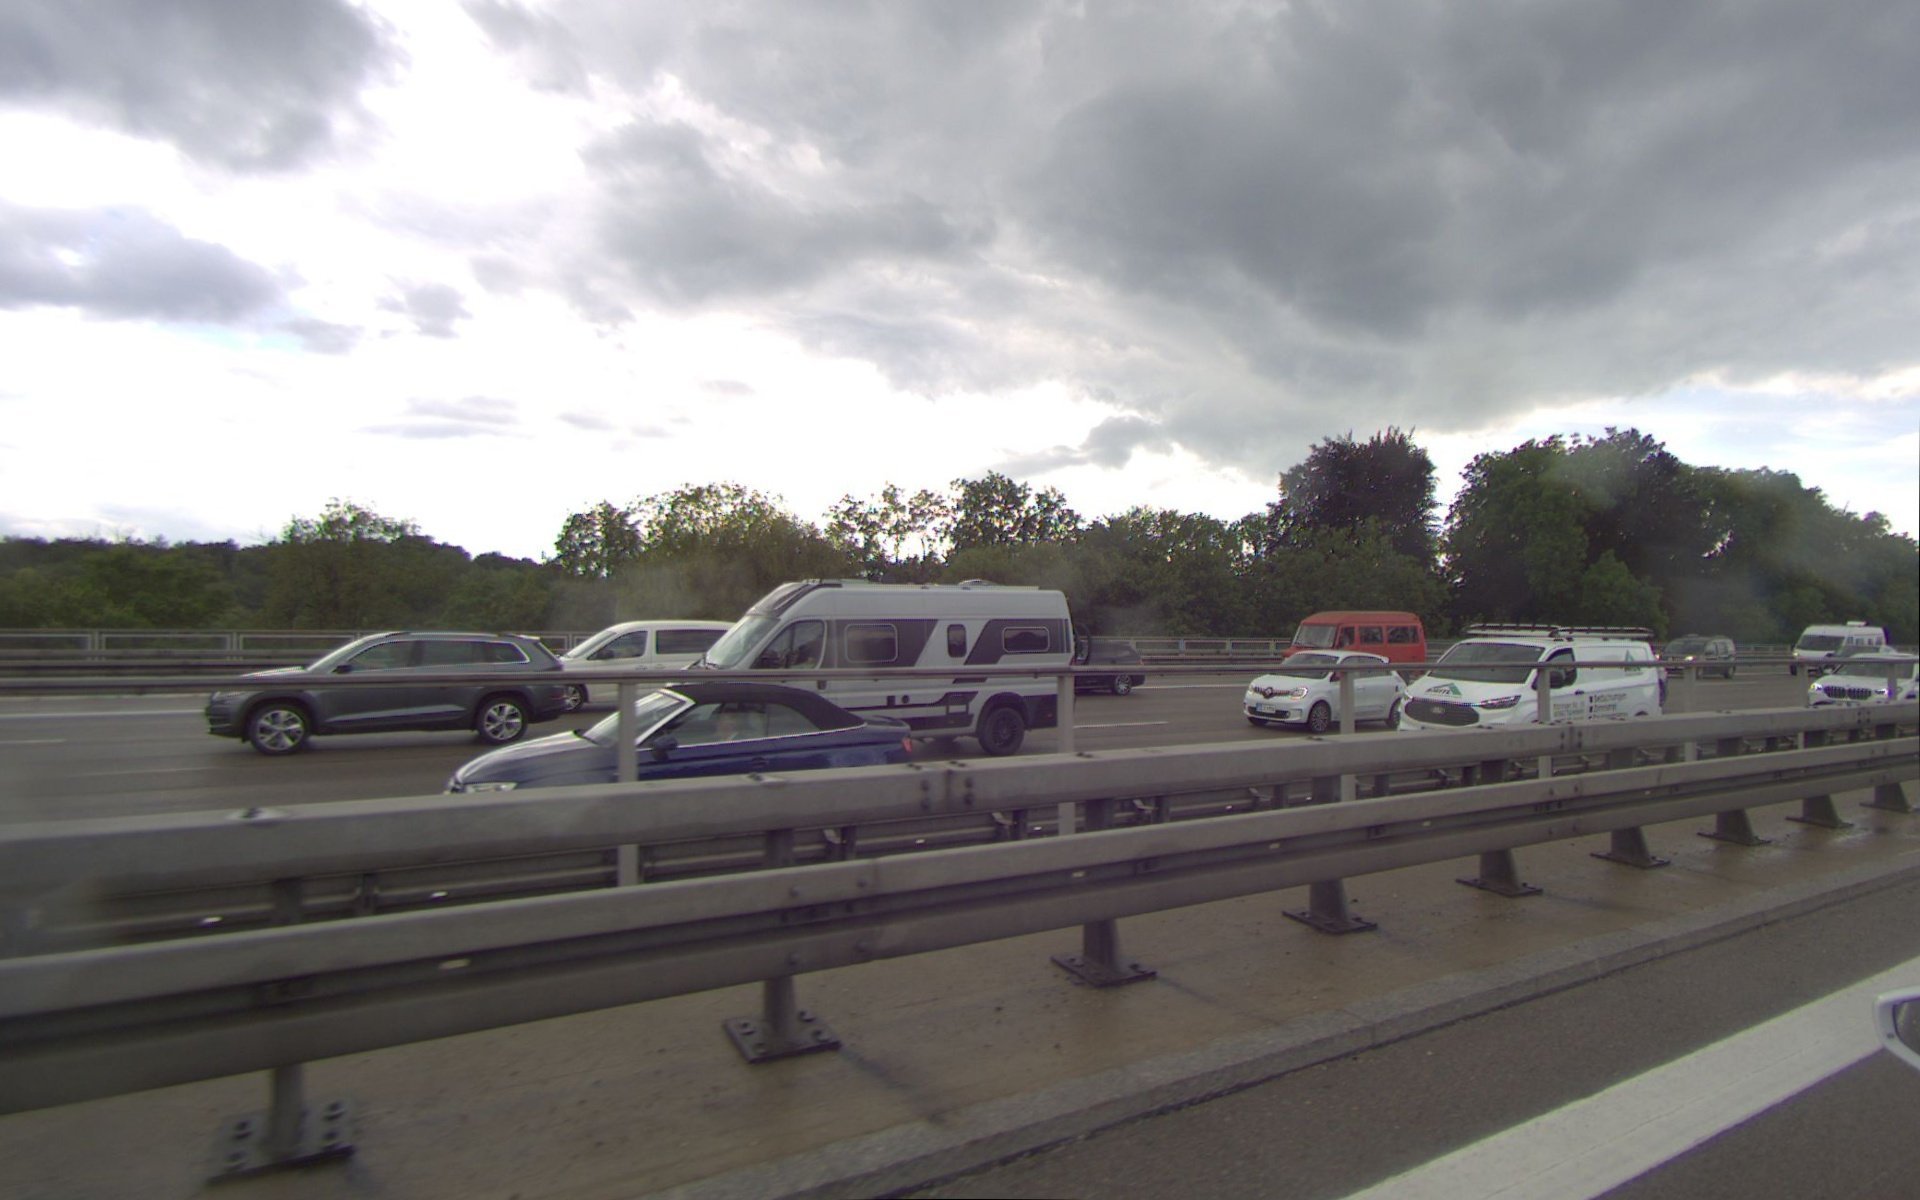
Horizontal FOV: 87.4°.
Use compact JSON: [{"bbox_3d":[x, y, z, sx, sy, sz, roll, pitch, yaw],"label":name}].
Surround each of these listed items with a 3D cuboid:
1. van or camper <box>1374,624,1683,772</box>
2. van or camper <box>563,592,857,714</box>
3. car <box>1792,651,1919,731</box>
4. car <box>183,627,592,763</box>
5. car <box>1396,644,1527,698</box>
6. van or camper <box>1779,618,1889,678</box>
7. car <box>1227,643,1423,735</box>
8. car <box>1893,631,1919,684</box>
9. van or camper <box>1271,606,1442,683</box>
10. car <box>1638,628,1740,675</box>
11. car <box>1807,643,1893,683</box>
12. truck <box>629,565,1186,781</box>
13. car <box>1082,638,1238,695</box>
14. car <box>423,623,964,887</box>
[{"bbox_3d":[9.494,1.468,16.614,5.578,2.095,1.974,1,-1,-31],"label":"van or camper"},{"bbox_3d":[-5.333,1.119,21.831,5.867,2.360,2.036,2,-2,-31],"label":"van or camper"},{"bbox_3d":[22.501,2.122,24.406,5.294,1.697,1.817,1,-1,-30],"label":"car"},{"bbox_3d":[-8.288,1.292,15.000,5.008,1.732,1.822,1,-1,-31],"label":"car"},{"bbox_3d":[15.233,2.110,30.456,3.956,1.520,1.781,2,-2,-32],"label":"car"},{"bbox_3d":[43.812,2.360,50.276,7.151,2.802,2.190,1,-1,-32],"label":"van or camper"},{"bbox_3d":[7.422,1.731,20.340,3.956,1.657,1.668,2,-2,-32],"label":"car"},{"bbox_3d":[37.357,2.186,37.764,4.940,1.927,1.885,2,-2,-29],"label":"car"},{"bbox_3d":[13.101,1.469,33.011,6.163,2.335,1.930,2,-2,-31],"label":"van or camper"},{"bbox_3d":[32.260,2.252,44.396,4.707,1.970,2.065,2,-2,-32],"label":"car"},{"bbox_3d":[37.707,2.643,42.544,3.956,1.600,1.668,2,-2,-32],"label":"car"},{"bbox_3d":[-0.422,1.002,15.512,8.659,2.637,2.135,1,-1,-32],"label":"truck"},{"bbox_3d":[5.700,1.854,28.452,4.559,1.495,1.478,2,-2,-31],"label":"car"},{"bbox_3d":[-2.437,1.235,9.647,4.673,1.975,1.937,1,-1,-32],"label":"car"}]
